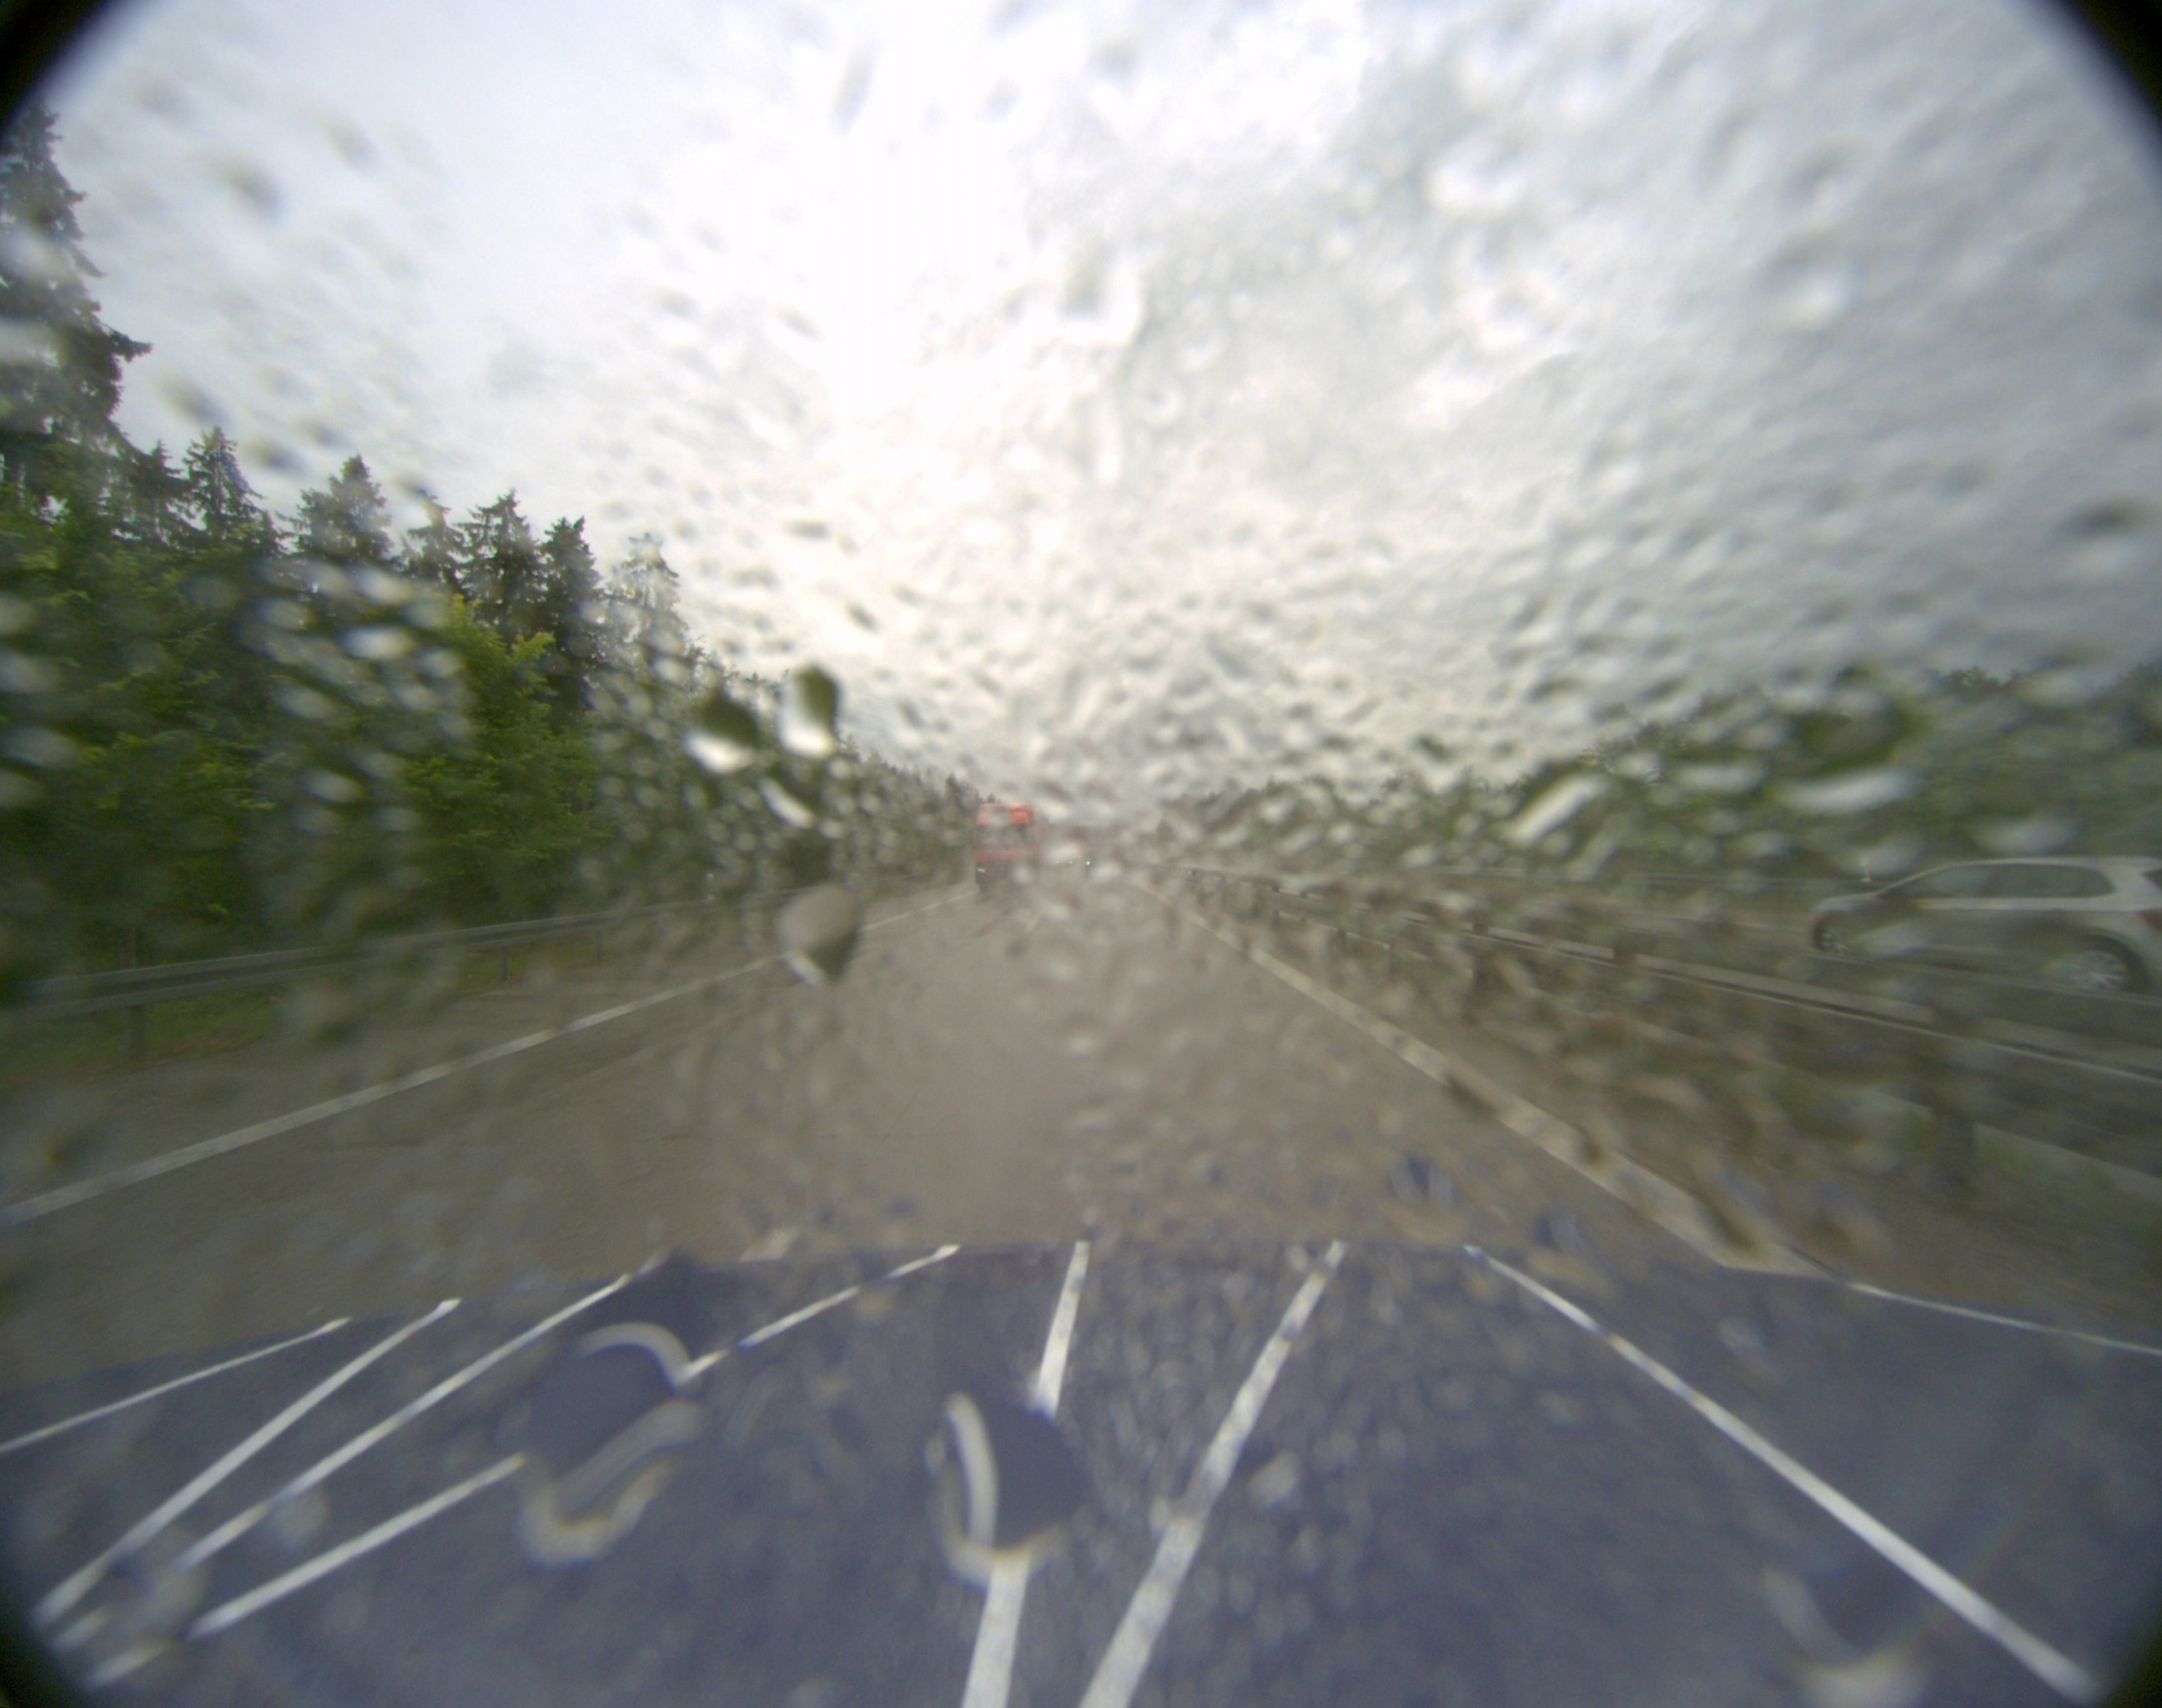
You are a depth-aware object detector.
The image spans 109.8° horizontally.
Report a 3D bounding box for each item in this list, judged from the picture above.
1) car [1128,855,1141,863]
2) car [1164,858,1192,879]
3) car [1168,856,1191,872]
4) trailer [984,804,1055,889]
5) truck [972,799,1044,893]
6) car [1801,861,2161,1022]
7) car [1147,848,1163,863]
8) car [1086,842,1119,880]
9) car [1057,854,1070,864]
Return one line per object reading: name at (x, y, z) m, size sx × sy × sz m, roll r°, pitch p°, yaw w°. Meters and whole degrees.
car at (9.749, 0.874, 138.586) m, size 1.772 × 1.410 × 4.605 m, roll 0°, pitch 0°, yaw -3°
car at (6.954, 0.995, 54.532) m, size 1.523 × 1.395 × 3.931 m, roll 1°, pitch 0°, yaw 0°
car at (8.920, 0.878, 69.094) m, size 1.523 × 1.395 × 3.931 m, roll -1°, pitch 0°, yaw 0°
trailer at (-3.261, -0.381, 43.878) m, size 2.801 × 4.132 × 13.005 m, roll 1°, pitch 0°, yaw 1°
truck at (-3.346, -0.354, 36.176) m, size 2.766 × 4.064 × 5.437 m, roll 1°, pitch 0°, yaw 1°
car at (10.666, 0.820, 8.368) m, size 1.754 × 1.427 × 3.918 m, roll 1°, pitch 0°, yaw 0°
car at (14.251, 0.226, 147.078) m, size 2.357 × 2.733 × 6.875 m, roll -1°, pitch 0°, yaw 1°
car at (1.263, 0.406, 45.273) m, size 1.795 × 2.113 × 4.524 m, roll 1°, pitch 0°, yaw 1°
car at (-2.151, 0.614, 93.216) m, size 1.496 × 1.188 × 3.669 m, roll 1°, pitch 0°, yaw 1°
